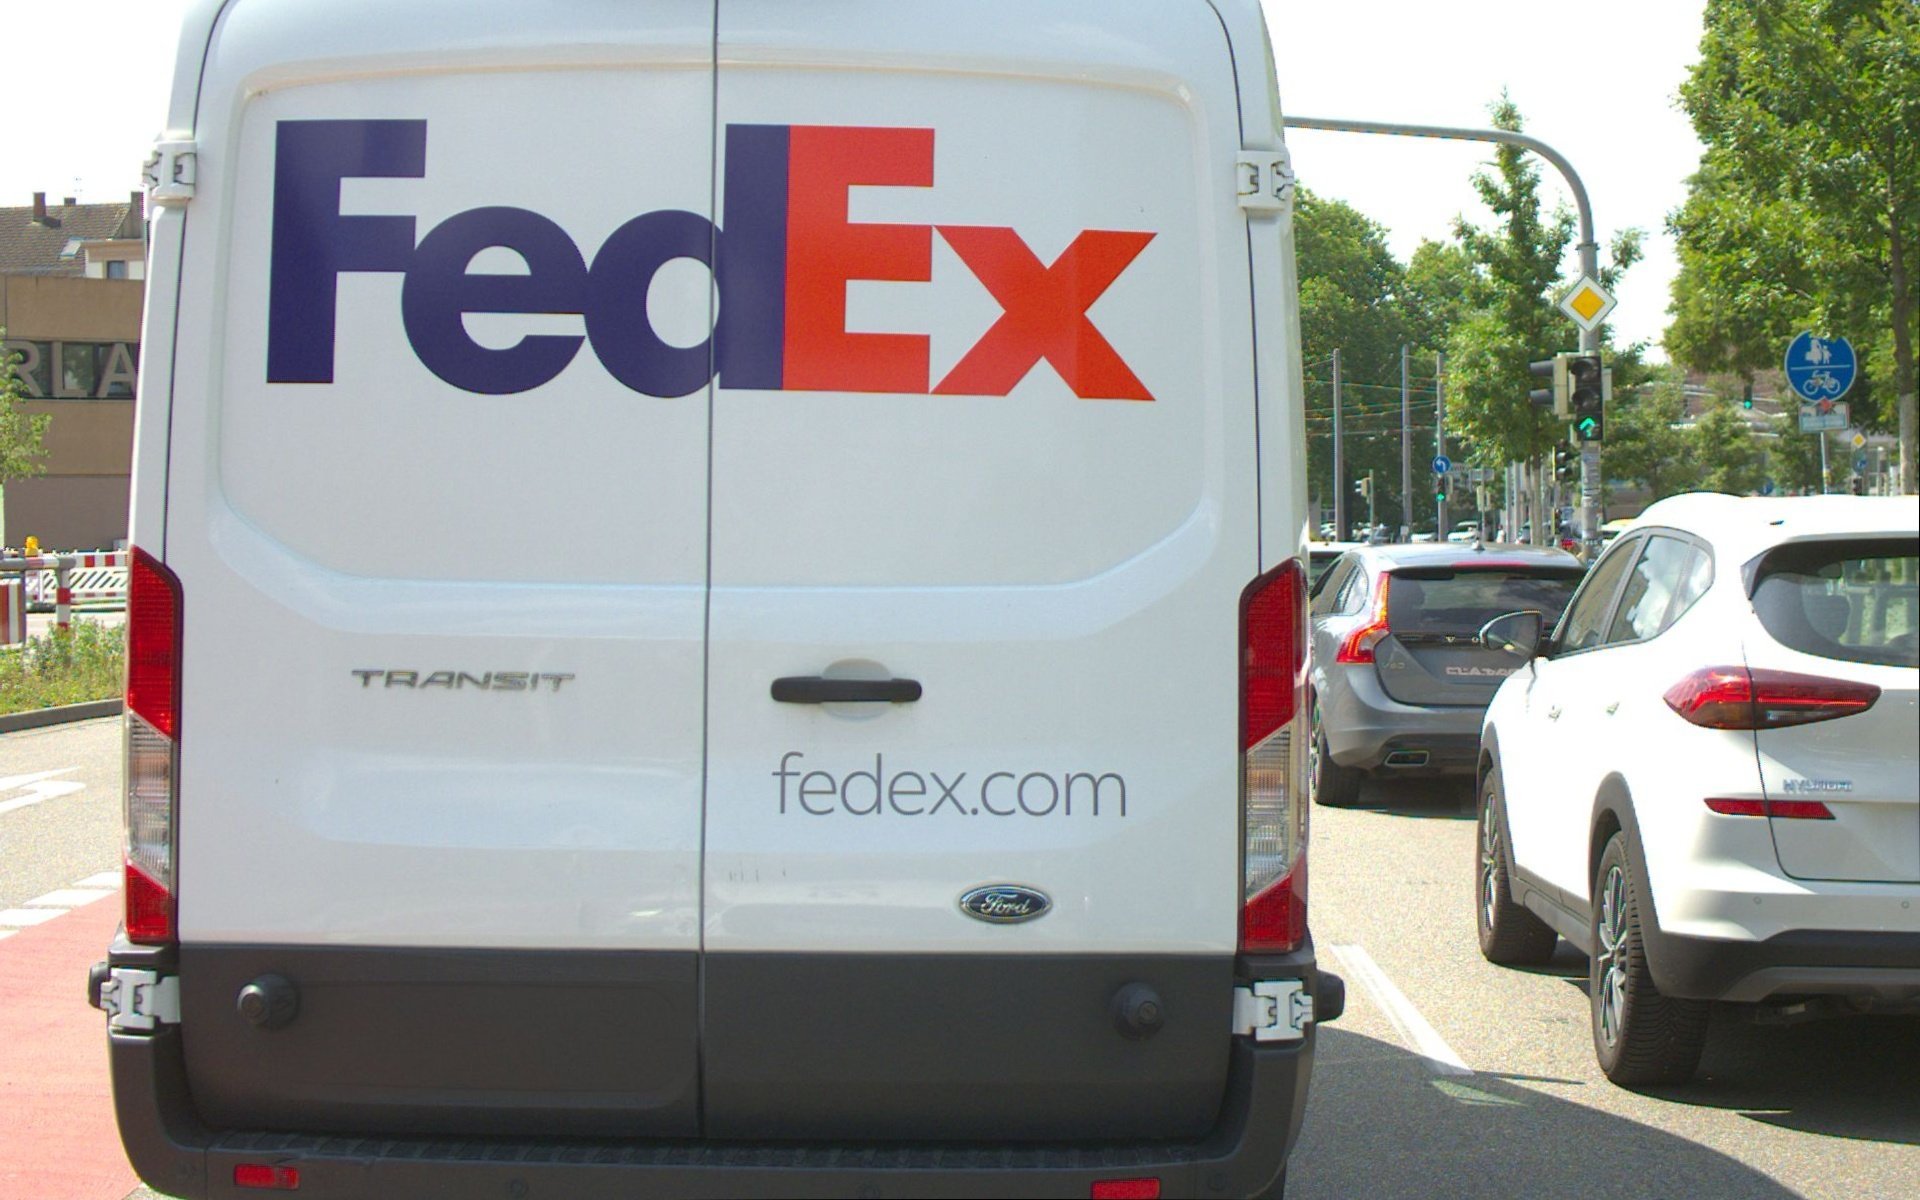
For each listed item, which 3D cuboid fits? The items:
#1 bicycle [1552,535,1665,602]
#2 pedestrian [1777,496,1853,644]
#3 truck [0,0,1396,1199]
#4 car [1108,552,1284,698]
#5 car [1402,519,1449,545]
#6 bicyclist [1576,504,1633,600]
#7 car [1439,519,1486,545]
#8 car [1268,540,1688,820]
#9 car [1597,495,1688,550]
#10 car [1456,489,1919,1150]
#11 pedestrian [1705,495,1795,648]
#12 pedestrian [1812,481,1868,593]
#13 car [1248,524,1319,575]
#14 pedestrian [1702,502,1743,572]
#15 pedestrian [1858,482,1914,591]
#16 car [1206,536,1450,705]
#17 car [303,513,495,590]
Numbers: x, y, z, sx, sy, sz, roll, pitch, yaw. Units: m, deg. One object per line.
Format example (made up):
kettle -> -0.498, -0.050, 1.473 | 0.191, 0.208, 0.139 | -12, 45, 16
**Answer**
bicycle -> 11.089, -0.534, 58.792 | 1.810, 1.046, 0.591 | -3, 0, 7
pedestrian -> 10.262, -0.368, 41.289 | 0.666, 1.740, 0.609 | -2, 1, -6
truck -> -0.452, 0.035, 8.174 | 2.137, 2.631, 5.918 | 1, 1, -1
car -> 2.734, 0.239, 39.171 | 1.881, 1.501, 4.155 | 1, 2, 5
car -> 29.092, -4.256, 214.841 | 1.996, 1.568, 4.173 | 1, 1, 21
bicyclist -> 11.019, -0.813, 58.802 | 0.828, 1.596, 0.579 | -3, 0, 7
car -> 31.222, -4.214, 213.661 | 1.996, 1.568, 4.173 | 1, 1, 21
car -> 2.873, 0.384, 19.865 | 1.915, 1.415, 3.918 | -1, 1, 1
car -> 20.938, -2.385, 105.398 | 1.883, 1.635, 3.952 | 0, 2, 25
car -> 2.731, 0.485, 10.606 | 1.881, 1.635, 4.233 | -1, 1, 1
pedestrian -> 9.423, -0.346, 41.053 | 0.749, 1.771, 0.882 | -2, 1, -6
pedestrian -> 14.352, -1.035, 56.093 | 0.750, 1.796, 0.609 | -2, 1, 7
car -> 13.066, -2.026, 138.639 | 1.995, 2.007, 4.119 | 1, 1, 17
pedestrian -> 17.257, -1.421, 77.862 | 0.756, 1.584, 0.761 | 1, 0, 2
pedestrian -> 15.161, -1.040, 56.303 | 0.750, 1.746, 0.609 | -2, 1, 7
car -> 3.326, 0.142, 31.741 | 1.915, 1.415, 3.918 | -1, 1, 1
car -> -11.343, -0.975, 69.729 | 1.996, 1.503, 4.012 | 1, 1, 23
